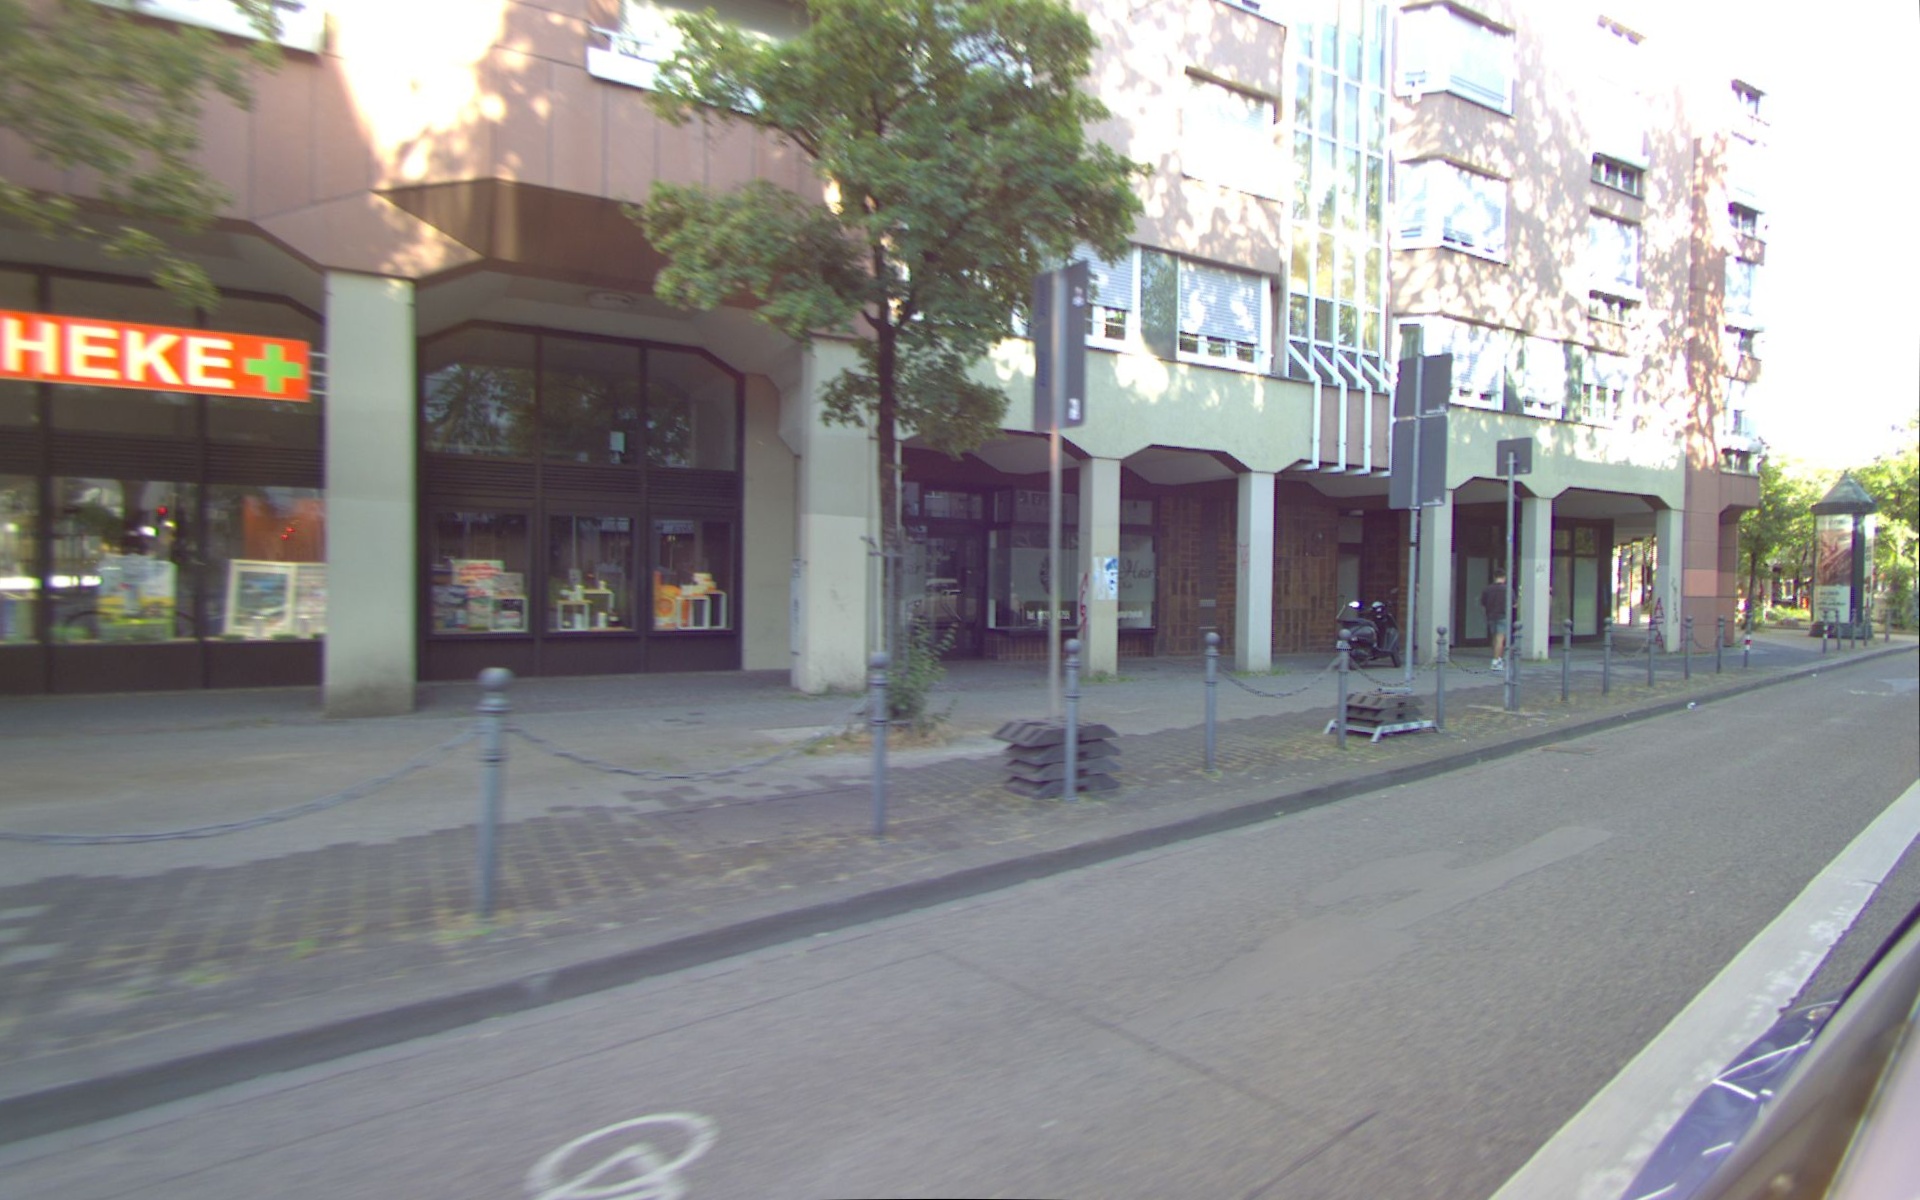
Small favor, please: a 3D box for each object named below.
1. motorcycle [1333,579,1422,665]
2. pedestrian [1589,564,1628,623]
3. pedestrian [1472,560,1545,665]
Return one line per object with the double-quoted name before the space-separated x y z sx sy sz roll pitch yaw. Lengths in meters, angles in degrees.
"motorcycle" 7.101 0.347 17.168 2.053 1.389 0.489 0 1 -40
"pedestrian" 22.379 -0.246 34.960 0.804 2.006 0.847 1 1 6
"pedestrian" 9.432 0.198 17.417 0.820 1.760 0.784 0 1 -31
